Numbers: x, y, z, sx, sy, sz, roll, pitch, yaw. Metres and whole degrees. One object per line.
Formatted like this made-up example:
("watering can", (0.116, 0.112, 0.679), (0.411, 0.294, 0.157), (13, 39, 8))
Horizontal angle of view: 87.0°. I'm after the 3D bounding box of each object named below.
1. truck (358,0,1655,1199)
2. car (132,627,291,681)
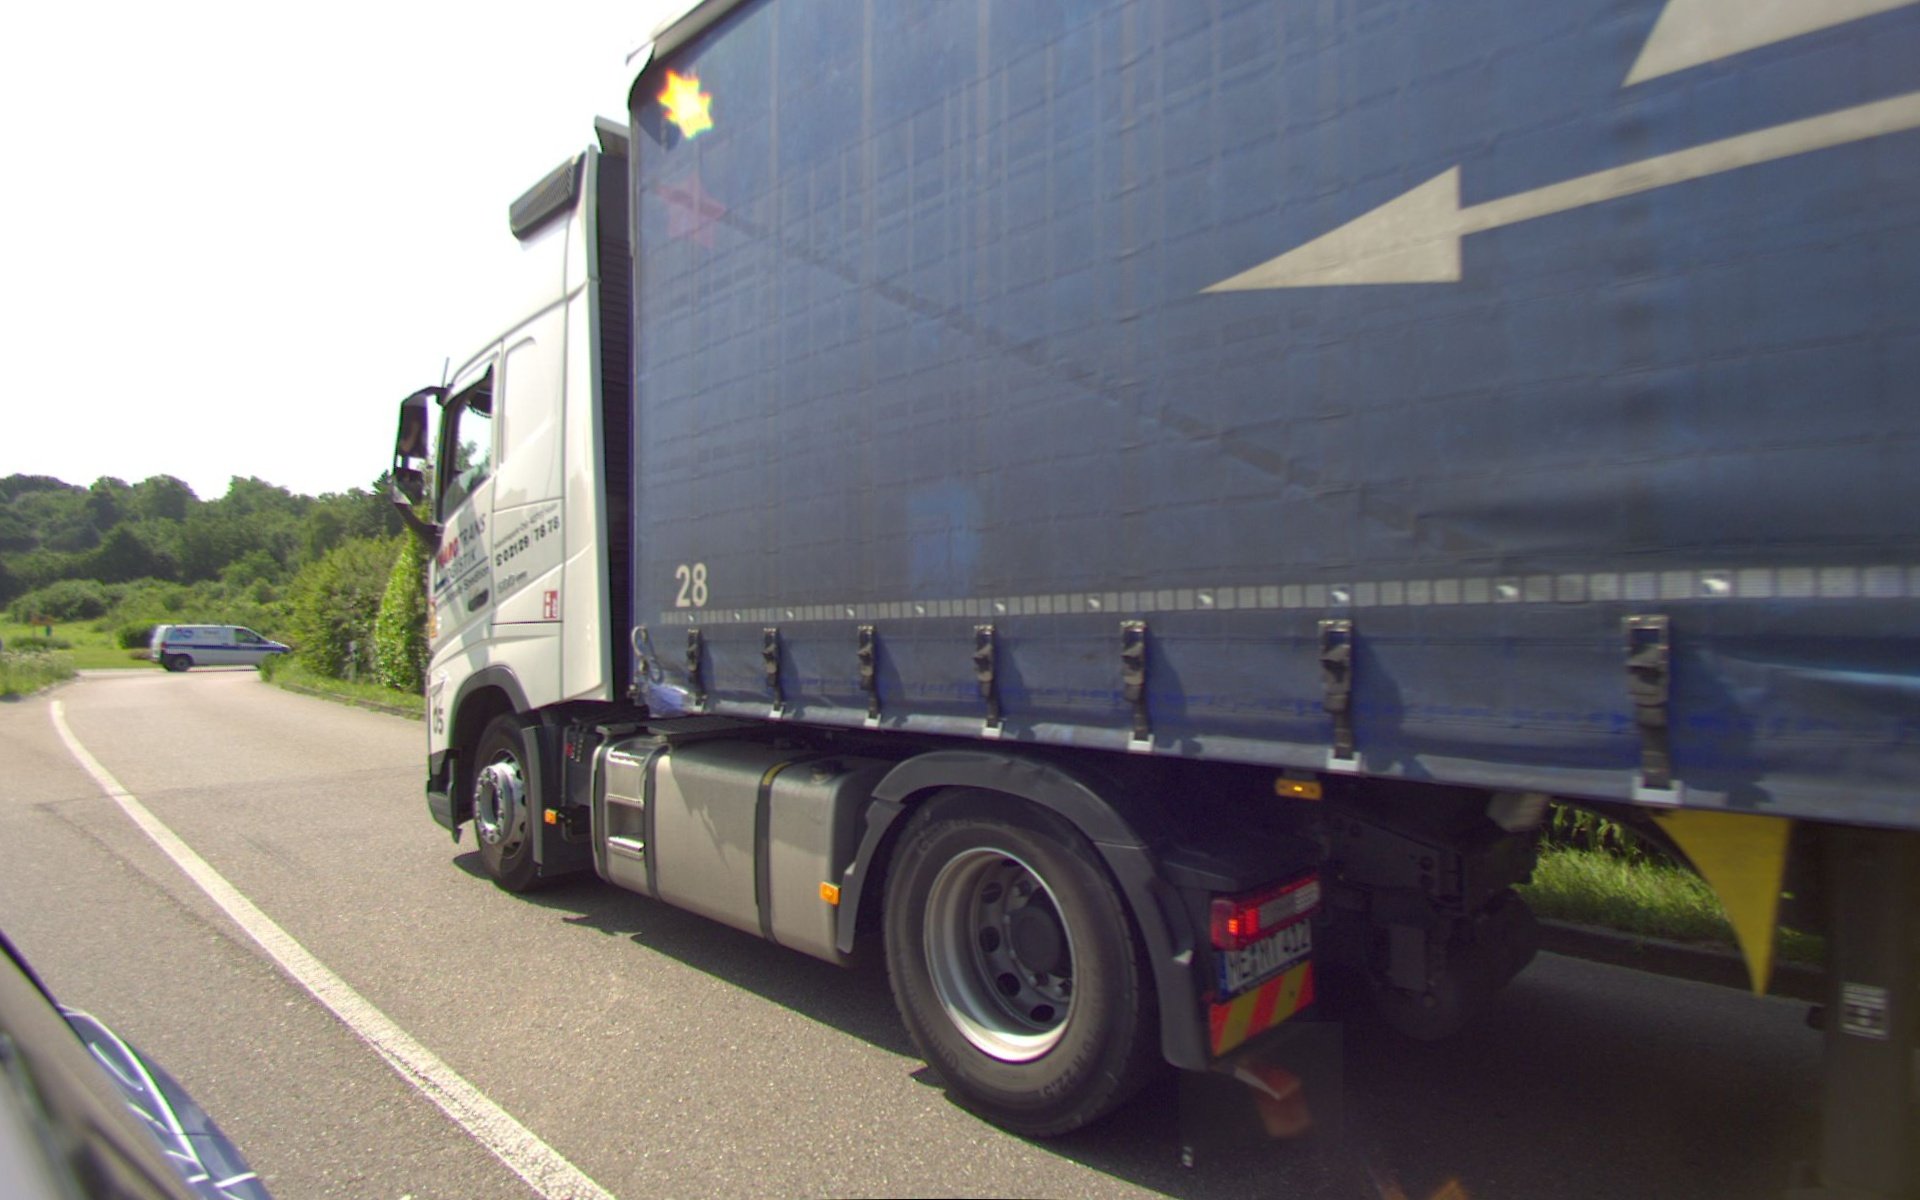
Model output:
("truck", (-0.546, -0.680, 4.914), (6.113, 4.290, 2.485), (-1, -2, 43))
("car", (-31.208, 2.193, 42.412), (5.141, 1.952, 1.866), (-1, 0, -30))
